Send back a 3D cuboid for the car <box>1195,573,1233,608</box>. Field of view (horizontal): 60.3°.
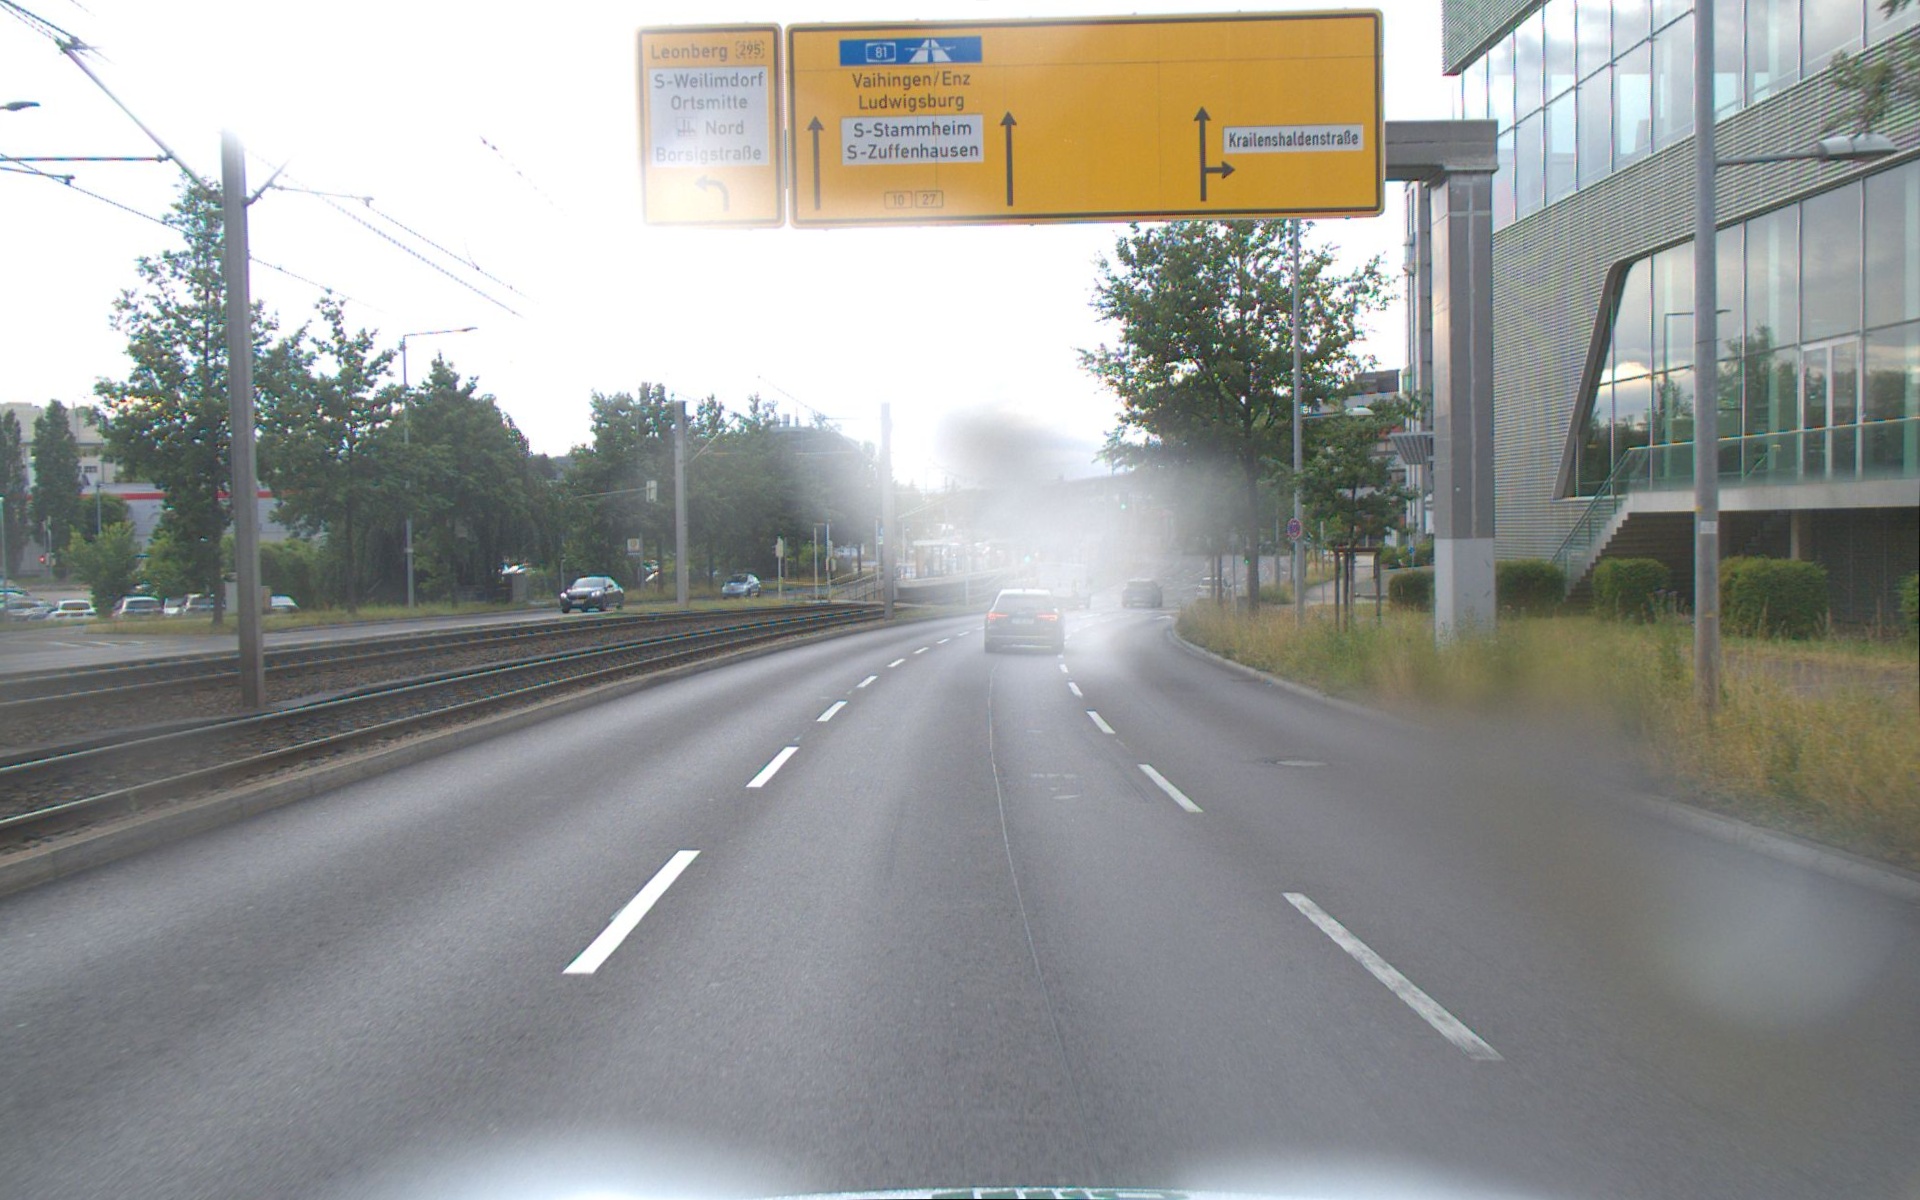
[{"bbox_3d":[14.364,-0.555,93.507,1.978,1.800,4.005,1,3,11],"label":"car"}]

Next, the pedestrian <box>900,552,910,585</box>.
[{"bbox_3d":[-3.415,-1.943,102.792,0.537,1.987,0.664,1,-1,7],"label":"pedestrian"}]

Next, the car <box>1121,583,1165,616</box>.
[{"bbox_3d":[9.587,-0.014,86.571,1.978,1.651,4.003,1,-1,10],"label":"car"}]

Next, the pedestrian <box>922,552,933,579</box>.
[{"bbox_3d":[-2.308,-2.448,118.391,0.623,1.886,0.751,1,-1,10],"label":"pedestrian"}]

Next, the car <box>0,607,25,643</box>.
[{"bbox_3d":[-42.375,1.085,72.707,1.970,1.536,3.965,1,-1,-27],"label":"car"}]

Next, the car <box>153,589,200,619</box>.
[{"bbox_3d":[-42.156,0.211,88.930,1.973,1.536,3.959,1,-1,-30],"label":"car"}]

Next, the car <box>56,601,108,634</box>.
[{"bbox_3d":[-40.916,0.809,77.162,1.728,1.520,3.972,1,-1,-23],"label":"car"}]

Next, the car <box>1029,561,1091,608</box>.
[{"bbox_3d":[4.987,-0.740,81.738,2.457,2.215,5.153,1,-1,10],"label":"car"}]

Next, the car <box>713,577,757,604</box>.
[{"bbox_3d":[-14.715,-0.664,108.268,1.951,1.709,4.003,1,1,5],"label":"car"}]

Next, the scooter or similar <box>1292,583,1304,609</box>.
[{"bbox_3d":[17.710,-0.213,86.628,0.448,1.285,1.338,-3,1,7],"label":"scooter or similar"}]

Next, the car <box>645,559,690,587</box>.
[{"bbox_3d":[-22.358,-2.017,126.710,1.951,2.049,4.003,1,0,13],"label":"car"}]

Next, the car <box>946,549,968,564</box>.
[{"bbox_3d":[-0.396,-6.381,241.292,1.965,2.049,3.975,1,-1,-20],"label":"car"}]

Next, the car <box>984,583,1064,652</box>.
[{"bbox_3d":[1.548,0.359,38.586,1.727,1.489,4.629,1,0,4],"label":"car"}]

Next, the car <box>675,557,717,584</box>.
[{"bbox_3d":[-21.011,-2.345,131.868,1.951,2.049,4.003,1,0,13],"label":"car"}]

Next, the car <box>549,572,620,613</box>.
[{"bbox_3d":[-15.673,-0.344,69.203,1.844,1.547,4.404,-4,1,1],"label":"car"}]

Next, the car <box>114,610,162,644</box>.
[{"bbox_3d":[-38.701,1.257,77.939,1.728,1.520,3.972,1,-1,-23],"label":"car"}]

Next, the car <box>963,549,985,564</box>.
[{"bbox_3d":[2.069,-6.352,242.306,1.965,2.049,3.975,1,-1,-20],"label":"car"}]

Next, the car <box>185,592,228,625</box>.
[{"bbox_3d":[-36.126,0.395,79.381,1.728,1.520,3.972,1,-1,-23],"label":"car"}]

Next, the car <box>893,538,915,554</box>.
[{"bbox_3d":[-7.901,-7.568,233.476,1.965,2.049,3.975,1,-1,-20],"label":"car"}]

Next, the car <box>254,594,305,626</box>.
[{"bbox_3d":[-33.183,0.494,80.615,1.970,1.536,3.965,1,-1,-27],"label":"car"}]

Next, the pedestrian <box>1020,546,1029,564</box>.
[{"bbox_3d":[6.631,-4.601,169.975,0.736,1.781,0.764,1,-1,11],"label":"pedestrian"}]

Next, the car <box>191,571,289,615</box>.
[{"bbox_3d":[-28.553,-0.249,65.744,1.952,1.679,4.001,1,-1,3],"label":"car"}]
